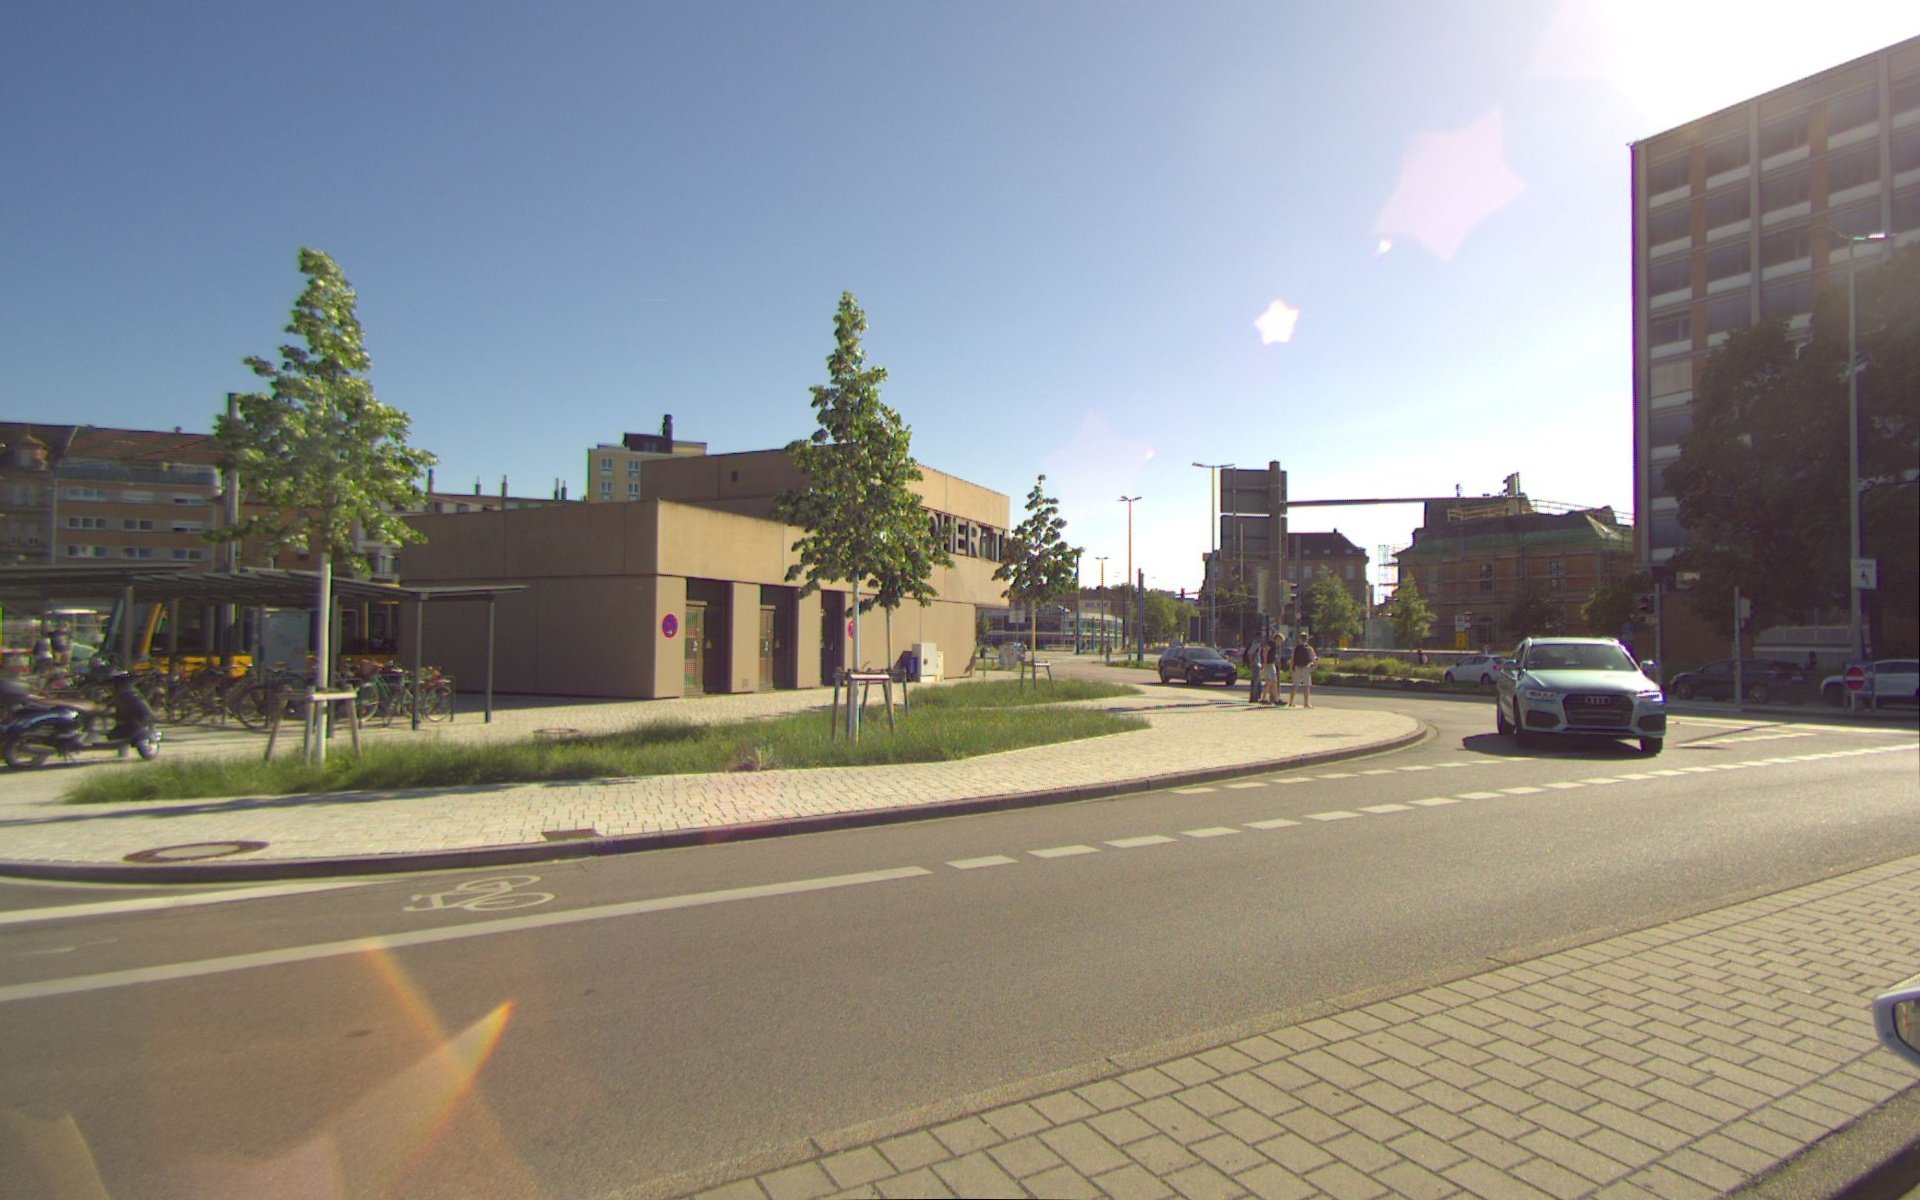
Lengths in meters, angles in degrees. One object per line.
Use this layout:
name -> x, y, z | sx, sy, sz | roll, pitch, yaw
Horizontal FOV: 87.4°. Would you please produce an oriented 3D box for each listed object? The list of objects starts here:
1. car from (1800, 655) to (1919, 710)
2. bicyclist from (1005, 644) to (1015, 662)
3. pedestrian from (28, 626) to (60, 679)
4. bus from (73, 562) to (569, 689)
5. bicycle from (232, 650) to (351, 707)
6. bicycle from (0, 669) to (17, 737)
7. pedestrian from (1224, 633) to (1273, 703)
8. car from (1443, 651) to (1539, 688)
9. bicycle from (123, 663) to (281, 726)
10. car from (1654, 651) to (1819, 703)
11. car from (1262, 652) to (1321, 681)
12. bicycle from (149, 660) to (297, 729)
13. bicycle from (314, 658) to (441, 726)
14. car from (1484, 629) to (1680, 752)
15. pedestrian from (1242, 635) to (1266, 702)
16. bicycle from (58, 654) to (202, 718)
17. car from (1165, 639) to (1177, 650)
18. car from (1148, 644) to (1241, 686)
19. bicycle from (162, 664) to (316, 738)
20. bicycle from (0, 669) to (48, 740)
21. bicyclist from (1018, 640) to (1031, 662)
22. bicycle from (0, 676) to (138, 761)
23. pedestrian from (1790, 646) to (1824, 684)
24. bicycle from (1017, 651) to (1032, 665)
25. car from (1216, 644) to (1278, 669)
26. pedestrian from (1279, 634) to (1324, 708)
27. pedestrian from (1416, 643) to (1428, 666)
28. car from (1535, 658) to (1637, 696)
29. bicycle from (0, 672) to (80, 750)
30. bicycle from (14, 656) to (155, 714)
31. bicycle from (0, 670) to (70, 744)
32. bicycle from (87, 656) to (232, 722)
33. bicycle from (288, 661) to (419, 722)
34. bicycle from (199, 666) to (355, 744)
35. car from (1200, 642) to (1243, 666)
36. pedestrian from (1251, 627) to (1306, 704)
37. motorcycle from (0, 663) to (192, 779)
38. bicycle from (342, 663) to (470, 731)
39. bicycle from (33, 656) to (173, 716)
car -> 30.985, 2.722, 33.173 | 1.813, 1.653, 4.826 | 1, -2, -14
bicyclist -> 3.966, 4.235, 79.963 | 0.674, 1.440, 1.127 | 0, -4, -6
pedestrian -> -33.173, 1.888, 36.377 | 0.520, 1.896, 0.644 | 0, -2, 24
bus -> -18.487, 0.865, 31.247 | 2.810, 3.112, 13.620 | 0, -2, 25
bicycle -> -13.920, 1.613, 20.995 | 0.524, 1.051, 2.070 | 2, 0, 26
bicycle -> -14.720, 1.539, 14.428 | 0.399, 0.985, 1.683 | 2, 0, 22
pedestrian -> 7.318, 1.729, 25.489 | 0.831, 1.711, 0.896 | 5, -5, -34
car -> 22.931, 2.984, 43.505 | 1.711, 1.454, 3.843 | 1, -2, -9
bicycle -> -13.711, 1.676, 18.264 | 0.673, 0.956, 2.233 | 2, 0, 25
car -> 27.124, 2.656, 35.292 | 1.813, 1.653, 4.375 | 1, -3, -15
car -> 20.697, 4.131, 62.891 | 1.810, 1.653, 4.382 | 1, -2, -8
bicycle -> -12.901, 1.628, 17.659 | 0.524, 1.051, 2.070 | 2, 0, 26
bicycle -> -10.800, 1.682, 18.702 | 0.594, 1.093, 2.053 | 2, 0, 25
car -> 9.319, 1.303, 15.418 | 1.759, 1.602, 4.258 | -2, -3, 21
pedestrian -> 7.910, 1.825, 27.053 | 0.585, 1.752, 0.580 | 0, 0, 14
bicycle -> -15.905, 1.622, 19.323 | 0.524, 1.051, 2.070 | 5, 1, 26
car -> 39.640, 8.305, 188.891 | 1.959, 2.040, 4.003 | 0, -2, 7
car -> 9.058, 2.535, 39.234 | 1.787, 1.524, 4.778 | 0, -4, -10
bicycle -> -11.998, 1.651, 16.799 | 0.524, 1.051, 2.070 | 2, 0, 26
bicycle -> -14.203, 1.524, 14.378 | 0.399, 0.985, 1.683 | 2, 0, 22
bicyclist -> 4.623, 3.660, 71.910 | 0.727, 1.519, 1.072 | 1, -3, -6
bicycle -> -12.205, 1.572, 13.581 | 0.399, 0.985, 1.683 | 2, 0, 22
pedestrian -> 36.483, 2.800, 43.272 | 0.549, 1.591, 0.861 | 0, -4, -12
bicycle -> 4.604, 4.171, 71.896 | 0.727, 1.008, 1.989 | 1, -4, -6
car -> 17.697, 3.453, 62.174 | 1.810, 1.406, 4.894 | 1, -2, -8
pedestrian -> 8.142, 1.707, 23.978 | 0.783, 1.711, 0.785 | -3, -6, 40
pedestrian -> 32.909, 3.880, 71.551 | 0.636, 1.637, 0.548 | 0, -2, 10
car -> 28.000, 3.424, 45.088 | 1.712, 1.454, 3.841 | 3, -2, -11
bicycle -> -13.233, 1.542, 13.815 | 0.399, 0.985, 1.683 | 2, 0, 22
bicycle -> -17.774, 1.695, 20.459 | 0.524, 1.051, 2.070 | 5, 0, 26
bicycle -> -13.698, 1.530, 14.177 | 0.399, 0.985, 1.683 | 2, 0, 22
bicycle -> -15.019, 1.639, 18.908 | 0.524, 1.051, 2.070 | 5, 1, 26
bicycle -> -11.765, 1.748, 19.575 | 0.679, 1.011, 2.140 | 2, 0, 26
bicycle -> -10.906, 1.648, 16.136 | 0.524, 1.051, 2.070 | 2, 0, 26
car -> 19.616, 4.032, 75.507 | 1.809, 1.653, 4.386 | 1, -2, -4
pedestrian -> 7.812, 1.618, 24.689 | 1.083, 1.822, 0.704 | 2, -4, -11
motorcycle -> -10.851, 1.445, 12.479 | 0.558, 1.235, 2.087 | 0, -1, 21
bicycle -> -9.970, 1.719, 18.164 | 0.524, 1.051, 2.070 | 2, 0, 26
bicycle -> -16.886, 1.675, 19.851 | 0.524, 1.051, 2.070 | -2, -2, 26
